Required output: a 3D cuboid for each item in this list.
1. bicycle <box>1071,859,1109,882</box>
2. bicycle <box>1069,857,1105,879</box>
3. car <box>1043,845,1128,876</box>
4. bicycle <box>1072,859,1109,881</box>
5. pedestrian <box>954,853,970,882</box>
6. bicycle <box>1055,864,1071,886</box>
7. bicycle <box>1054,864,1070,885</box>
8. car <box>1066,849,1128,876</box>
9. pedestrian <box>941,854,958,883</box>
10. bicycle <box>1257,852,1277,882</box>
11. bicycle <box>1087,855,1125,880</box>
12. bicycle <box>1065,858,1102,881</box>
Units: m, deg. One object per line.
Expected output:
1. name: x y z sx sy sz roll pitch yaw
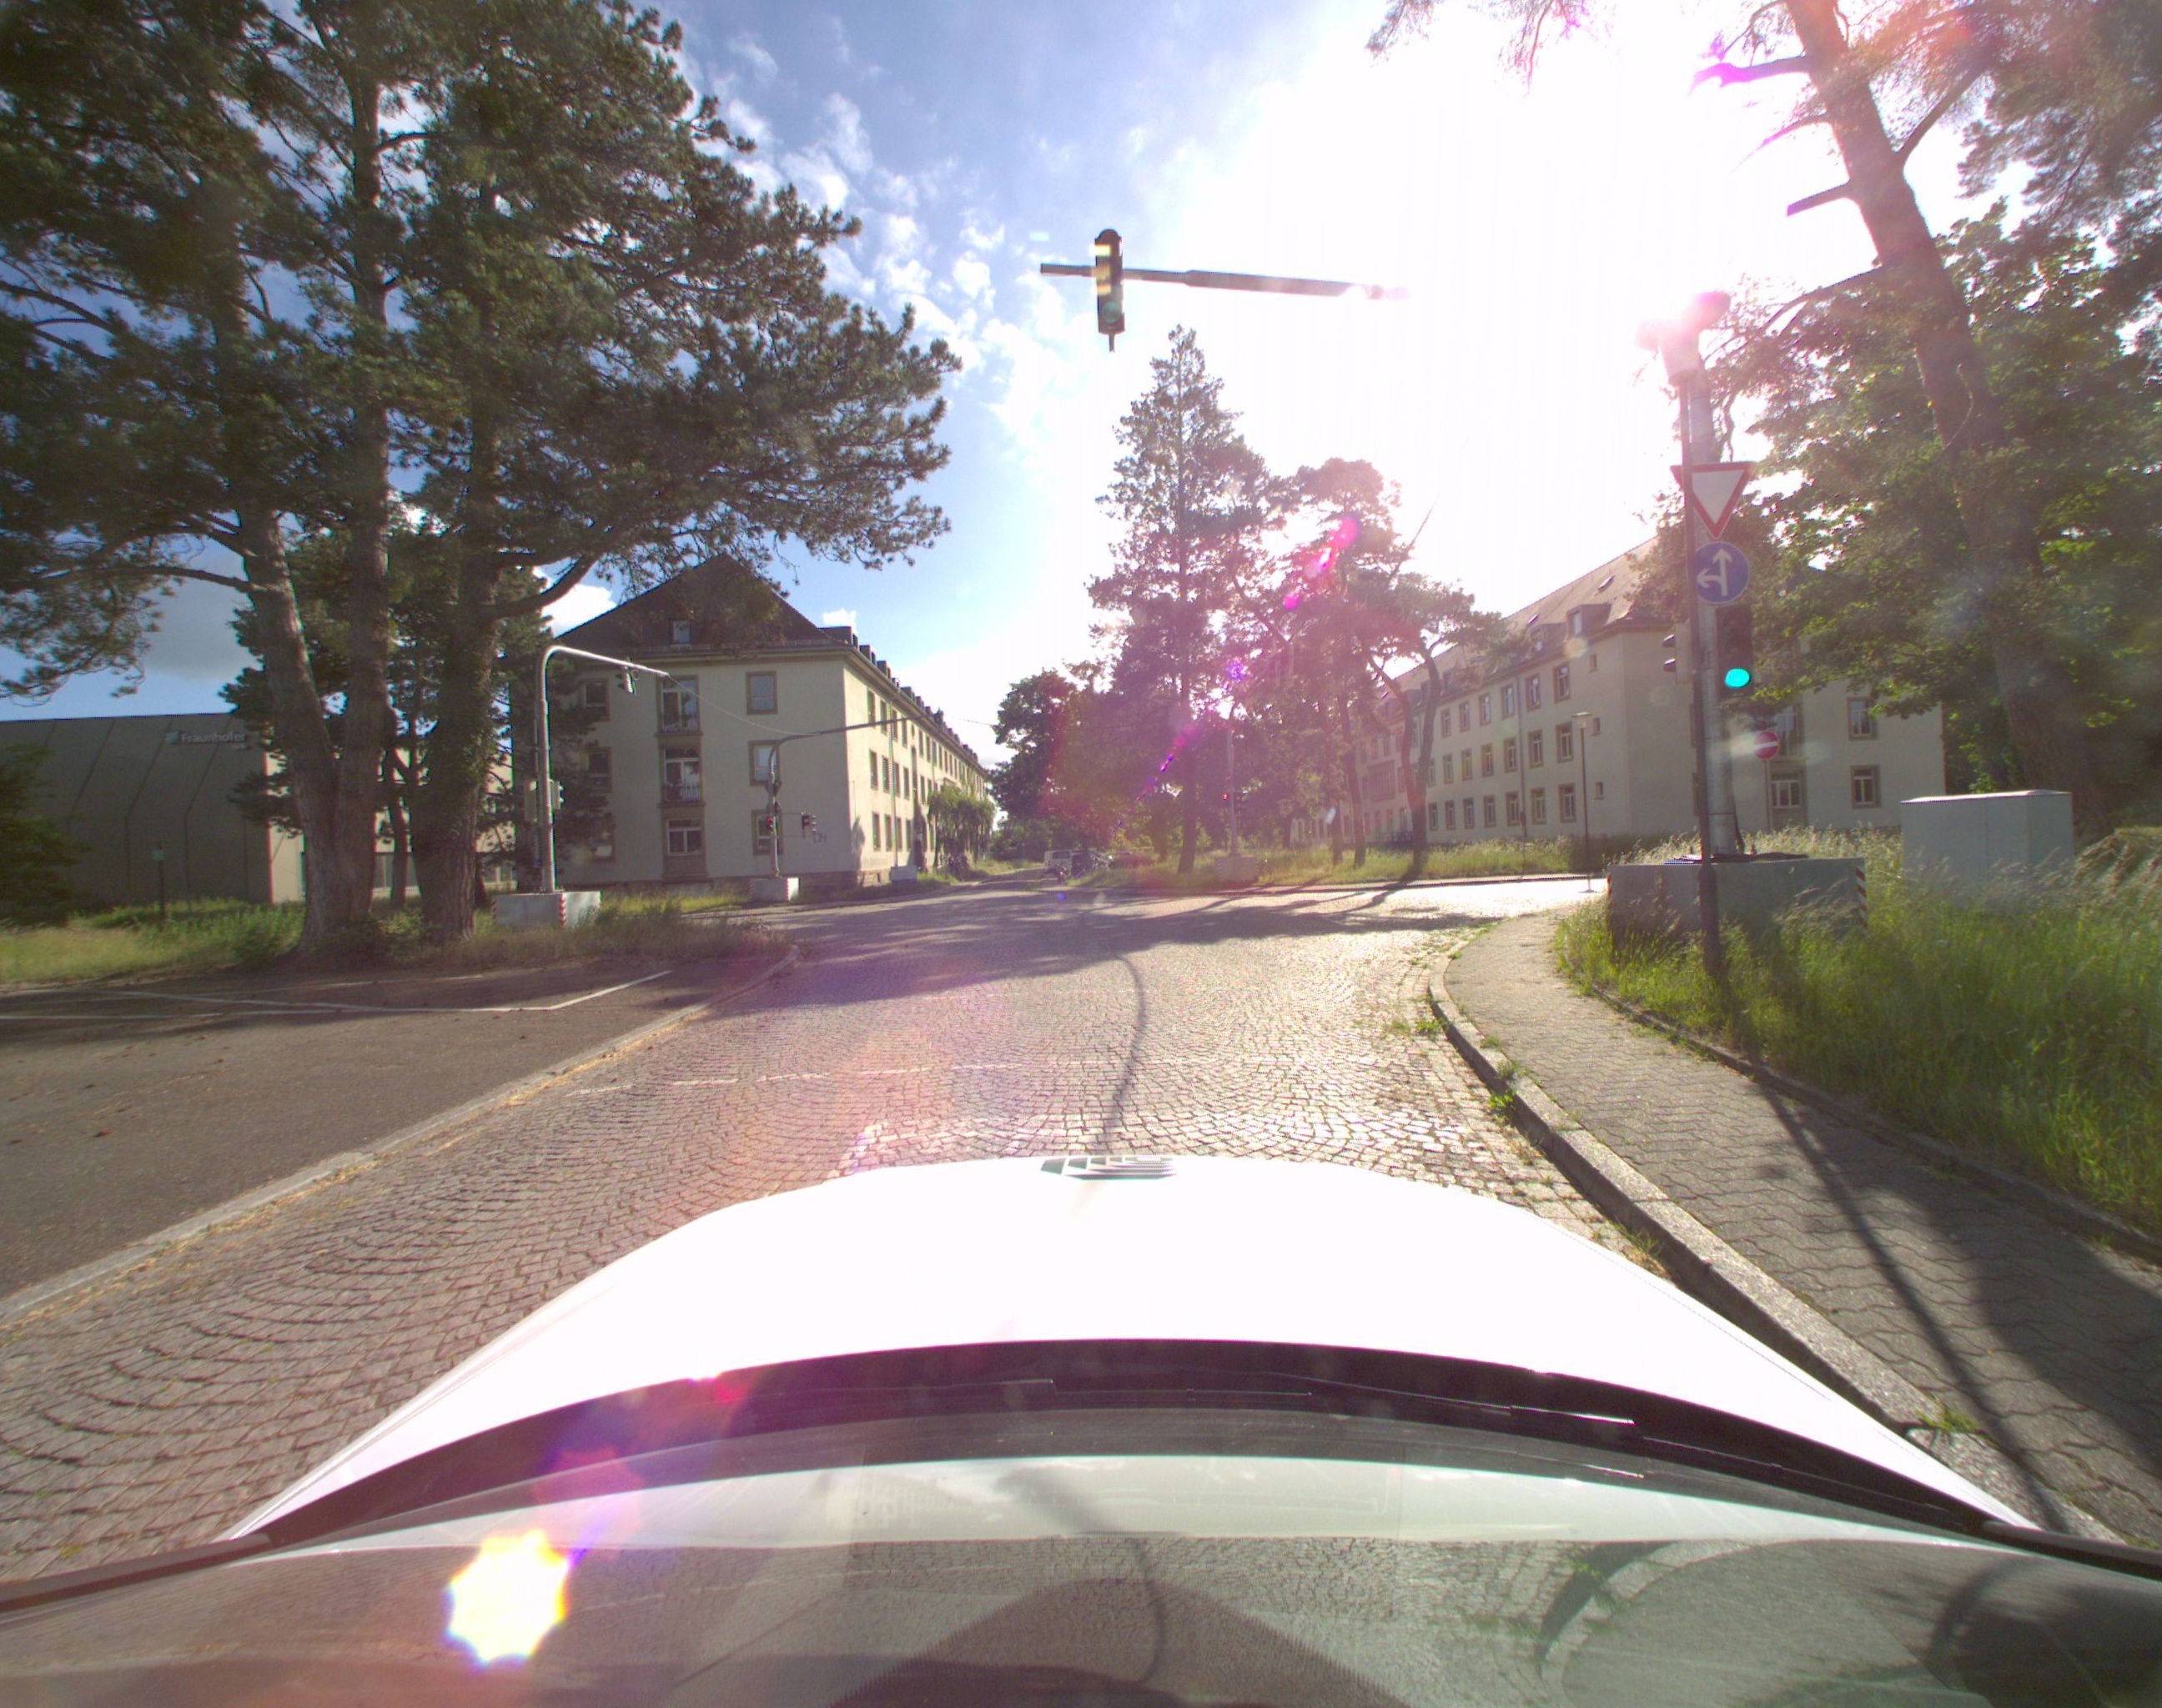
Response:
1. bicycle: 0.454 0.883 43.060 1.937 1.129 0.749 -2 0 -4
2. bicycle: 0.340 0.801 45.369 1.938 1.129 0.646 -2 0 -6
3. car: 0.274 0.490 60.208 5.926 2.013 2.469 -2 0 -8
4. bicycle: 0.490 0.838 42.265 1.851 1.031 0.749 -2 0 -4
5. pedestrian: -7.625 0.880 52.039 0.762 1.817 0.684 -3 0 10
6. bicycle: -0.887 1.003 38.763 0.694 0.971 1.859 -2 0 -2
7. bicycle: -0.961 0.998 40.696 0.694 0.971 1.859 -2 0 -2
8. car: 1.065 0.565 56.013 3.985 1.684 1.842 -2 0 -9
9. pedestrian: -8.289 0.911 51.259 0.806 1.817 0.556 -3 0 10
10. bicycle: 6.895 0.466 30.249 0.464 1.080 1.174 -3 -1 3
11. bicycle: 1.345 0.734 43.778 1.937 1.235 0.484 -2 0 -4
12. bicycle: 0.141 0.852 44.271 1.952 1.129 0.642 -2 0 -28
